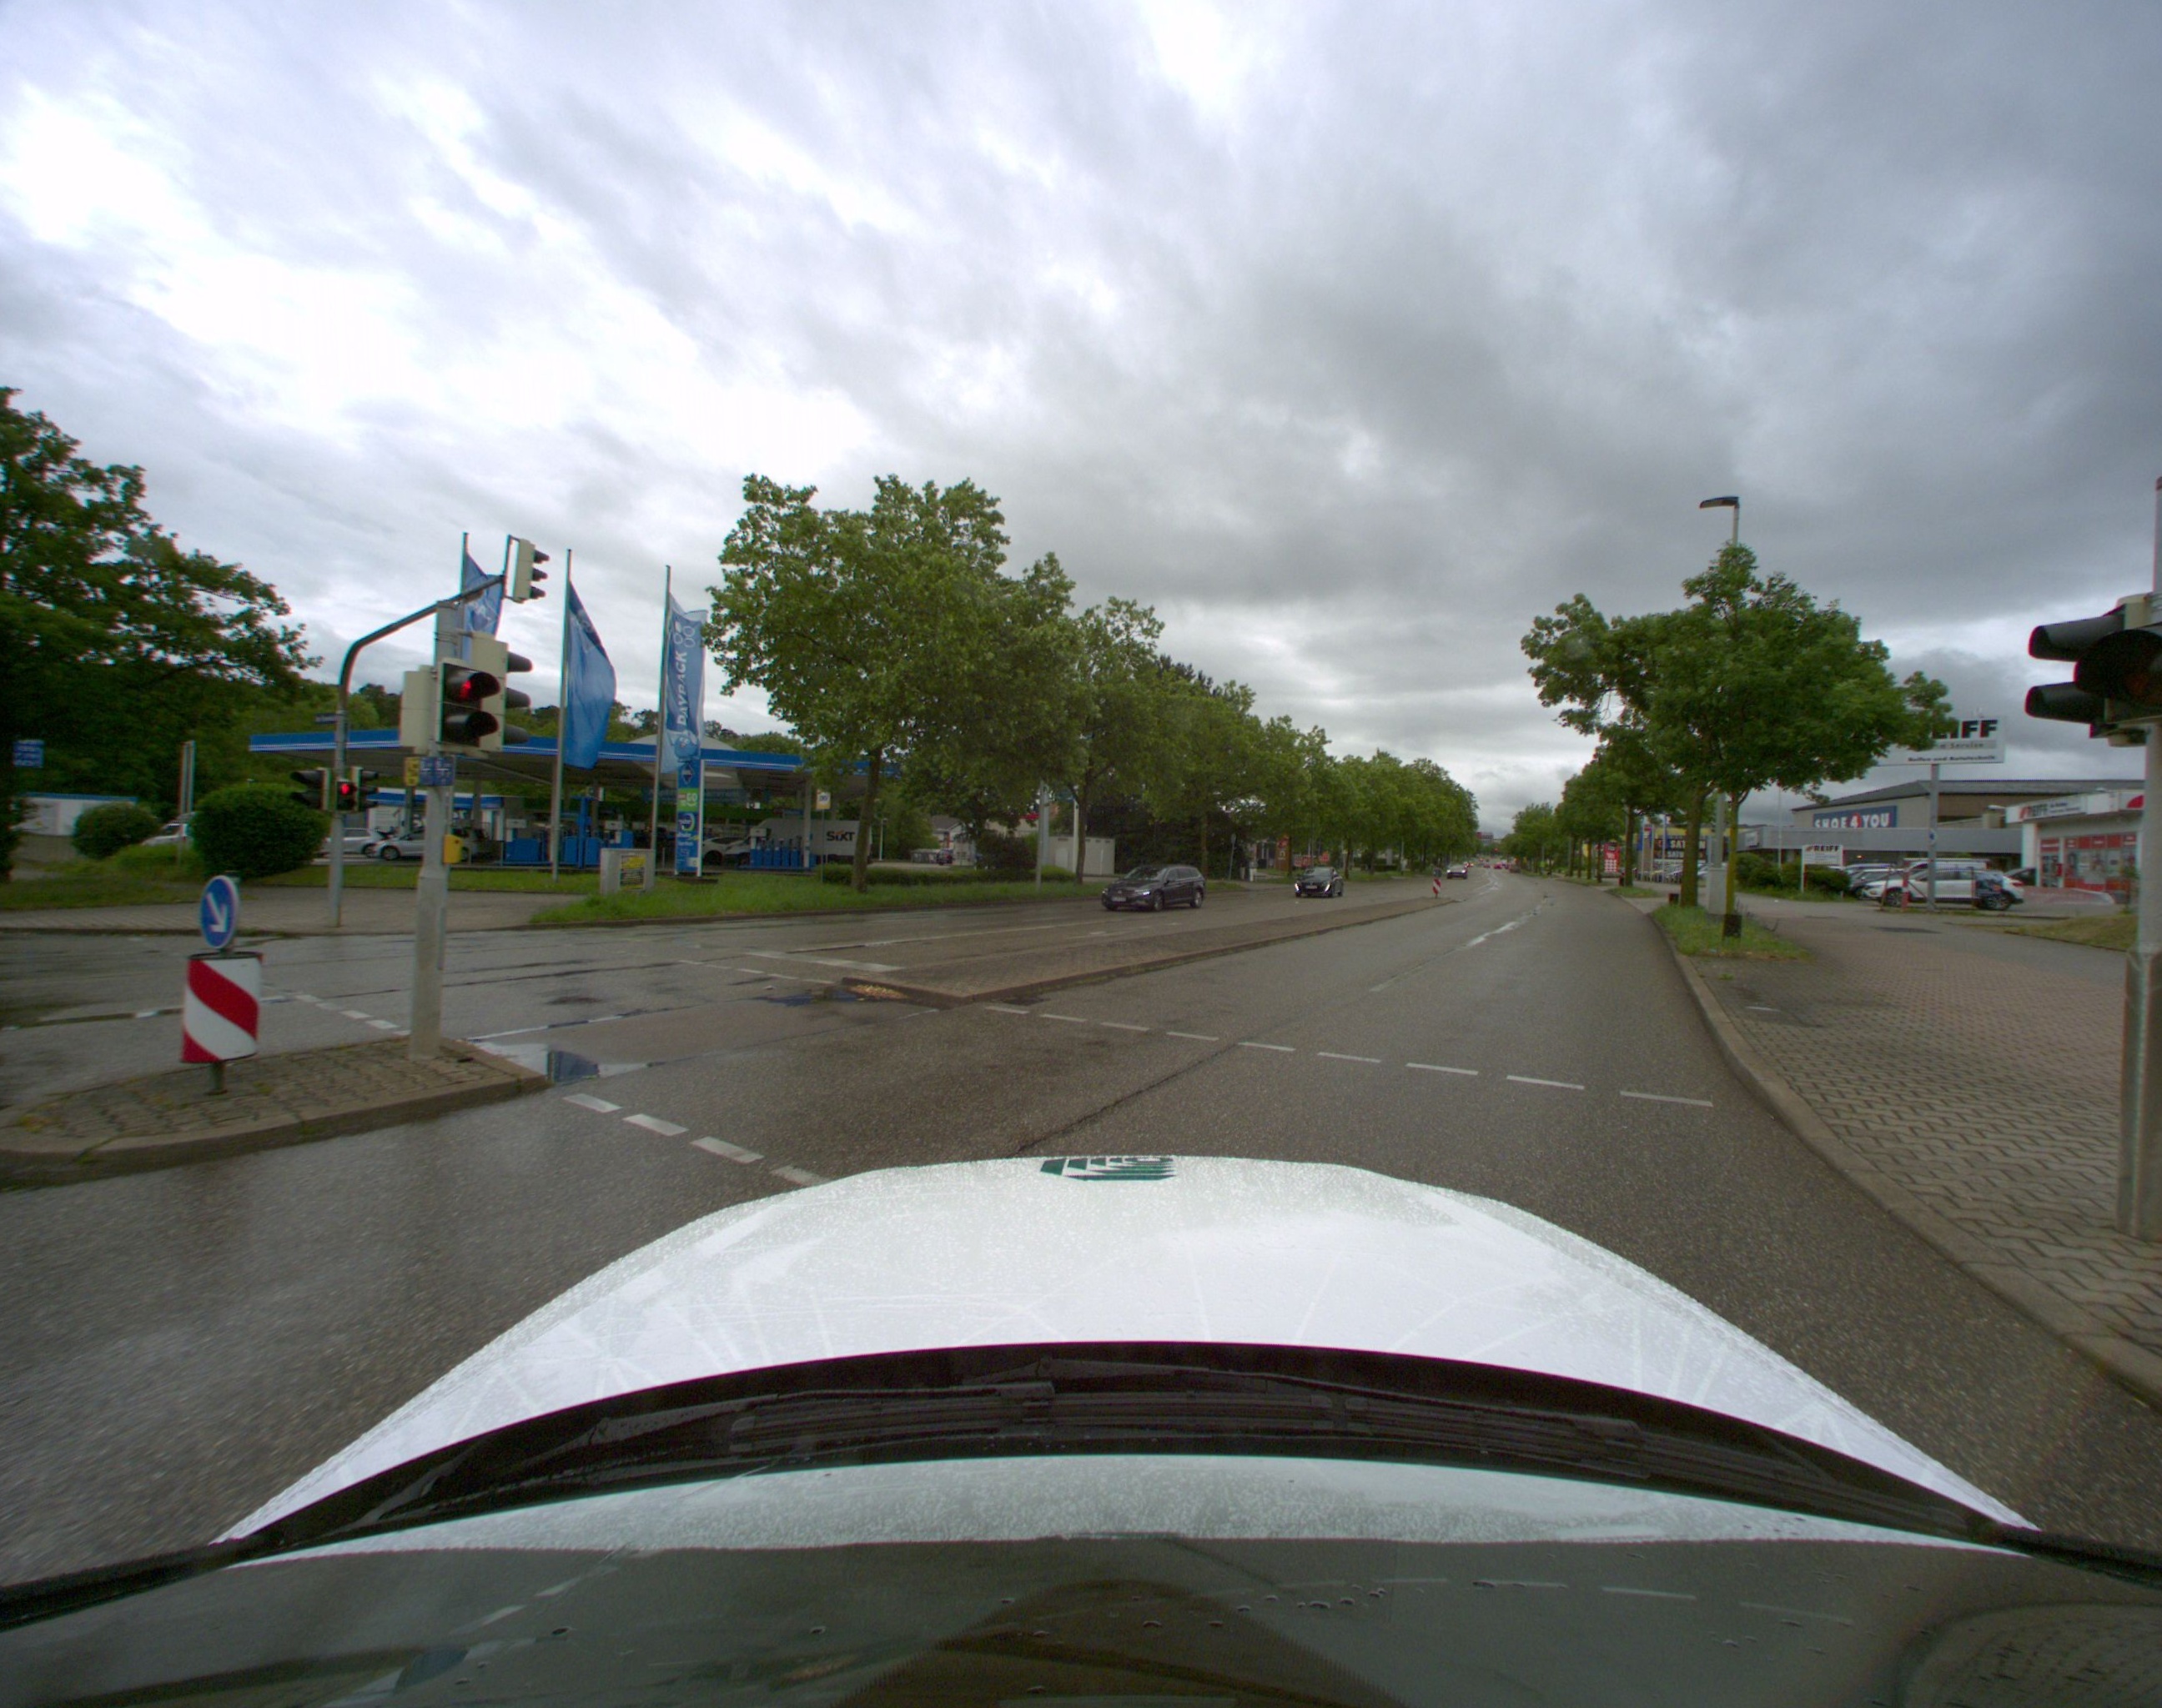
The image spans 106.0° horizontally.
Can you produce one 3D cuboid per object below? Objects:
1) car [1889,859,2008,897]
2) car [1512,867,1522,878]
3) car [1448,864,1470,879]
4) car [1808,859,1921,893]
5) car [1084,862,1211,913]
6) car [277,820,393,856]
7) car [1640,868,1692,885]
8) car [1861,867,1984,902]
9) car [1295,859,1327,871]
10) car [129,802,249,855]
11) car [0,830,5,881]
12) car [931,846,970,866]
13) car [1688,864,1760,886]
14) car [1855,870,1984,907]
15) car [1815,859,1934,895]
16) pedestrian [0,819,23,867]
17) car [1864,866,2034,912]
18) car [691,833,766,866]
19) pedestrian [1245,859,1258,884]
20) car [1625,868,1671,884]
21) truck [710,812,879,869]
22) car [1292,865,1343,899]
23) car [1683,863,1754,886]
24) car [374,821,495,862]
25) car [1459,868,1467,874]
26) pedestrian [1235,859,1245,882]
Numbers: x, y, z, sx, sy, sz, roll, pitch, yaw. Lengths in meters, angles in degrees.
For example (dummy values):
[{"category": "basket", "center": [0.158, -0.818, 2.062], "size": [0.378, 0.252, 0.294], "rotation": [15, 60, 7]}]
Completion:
[{"category": "car", "center": [53.101, 1.428, 49.986], "size": [4.610, 2.150, 1.977], "rotation": [1, -1, 27]}, {"category": "car", "center": [84.658, 3.539, 158.092], "size": [1.728, 2.014, 4.024], "rotation": [1, -1, 28]}, {"category": "car", "center": [40.963, 1.898, 88.161], "size": [1.794, 1.562, 4.626], "rotation": [1, -1, 30]}, {"category": "car", "center": [41.388, 1.115, 43.087], "size": [1.830, 1.662, 4.108], "rotation": [-1, 0, -38]}, {"category": "car", "center": [2.277, 1.028, 26.642], "size": [1.974, 1.508, 4.760], "rotation": [0, -1, 35]}, {"category": "car", "center": [-38.531, -0.813, 42.179], "size": [4.003, 1.728, 1.781], "rotation": [1, -1, -23]}, {"category": "car", "center": [57.493, 2.224, 80.098], "size": [3.950, 1.539, 1.810], "rotation": [1, -1, 27]}, {"category": "car", "center": [39.463, 1.420, 38.336], "size": [3.891, 1.523, 1.743], "rotation": [0, -1, 43]}, {"category": "car", "center": [25.187, 1.193, 89.191], "size": [3.145, 1.155, 1.298], "rotation": [5, 1, 35]}, {"category": "car", "center": [-33.179, -0.930, 30.295], "size": [3.655, 1.797, 1.824], "rotation": [1, -1, 23]}, {"category": "car", "center": [-34.447, 0.007, 22.886], "size": [1.974, 1.549, 4.933], "rotation": [0, 0, 34]}, {"category": "car", "center": [-12.282, 0.170, 76.841], "size": [1.978, 1.838, 4.017], "rotation": [0, -1, 17]}, {"category": "car", "center": [47.444, 1.527, 60.164], "size": [3.797, 1.461, 1.838], "rotation": [-3, -3, 27]}, {"category": "car", "center": [37.650, 1.498, 36.706], "size": [3.949, 1.522, 1.728], "rotation": [0, -1, 43]}, {"category": "car", "center": [39.827, 1.106, 40.966], "size": [1.830, 1.662, 4.108], "rotation": [-1, 0, -38]}, {"category": "pedestrian", "center": [-37.647, -0.372, 28.436], "size": [0.875, 1.661, 0.816], "rotation": [0, -1, 35]}, {"category": "car", "center": [32.741, 1.287, 30.928], "size": [4.134, 1.552, 1.901], "rotation": [1, -1, 36]}, {"category": "car", "center": [-19.266, -0.227, 44.644], "size": [3.560, 1.582, 1.679], "rotation": [3, -1, -18]}, {"category": "pedestrian", "center": [12.314, 1.233, 58.891], "size": [0.586, 1.766, 0.659], "rotation": [2, 0, -39]}, {"category": "car", "center": [61.297, 2.393, 88.113], "size": [3.805, 1.604, 1.806], "rotation": [-2, -2, 27]}, {"category": "truck", "center": [-14.472, -0.622, 41.399], "size": [7.884, 2.675, 2.138], "rotation": [1, -1, -25]}, {"category": "car", "center": [11.224, 1.282, 38.502], "size": [1.628, 1.508, 3.916], "rotation": [1, -1, 26]}, {"category": "car", "center": [48.801, 1.575, 62.428], "size": [3.949, 1.544, 1.823], "rotation": [-4, -3, 29]}, {"category": "car", "center": [-31.218, -0.617, 39.484], "size": [4.129, 1.807, 1.933], "rotation": [2, 1, -21]}, {"category": "car", "center": [106.037, 4.670, 226.056], "size": [1.787, 1.463, 3.868], "rotation": [0, -1, 27]}, {"category": "pedestrian", "center": [11.579, 1.201, 59.242], "size": [0.507, 1.683, 0.544], "rotation": [0, -1, 29]}]
